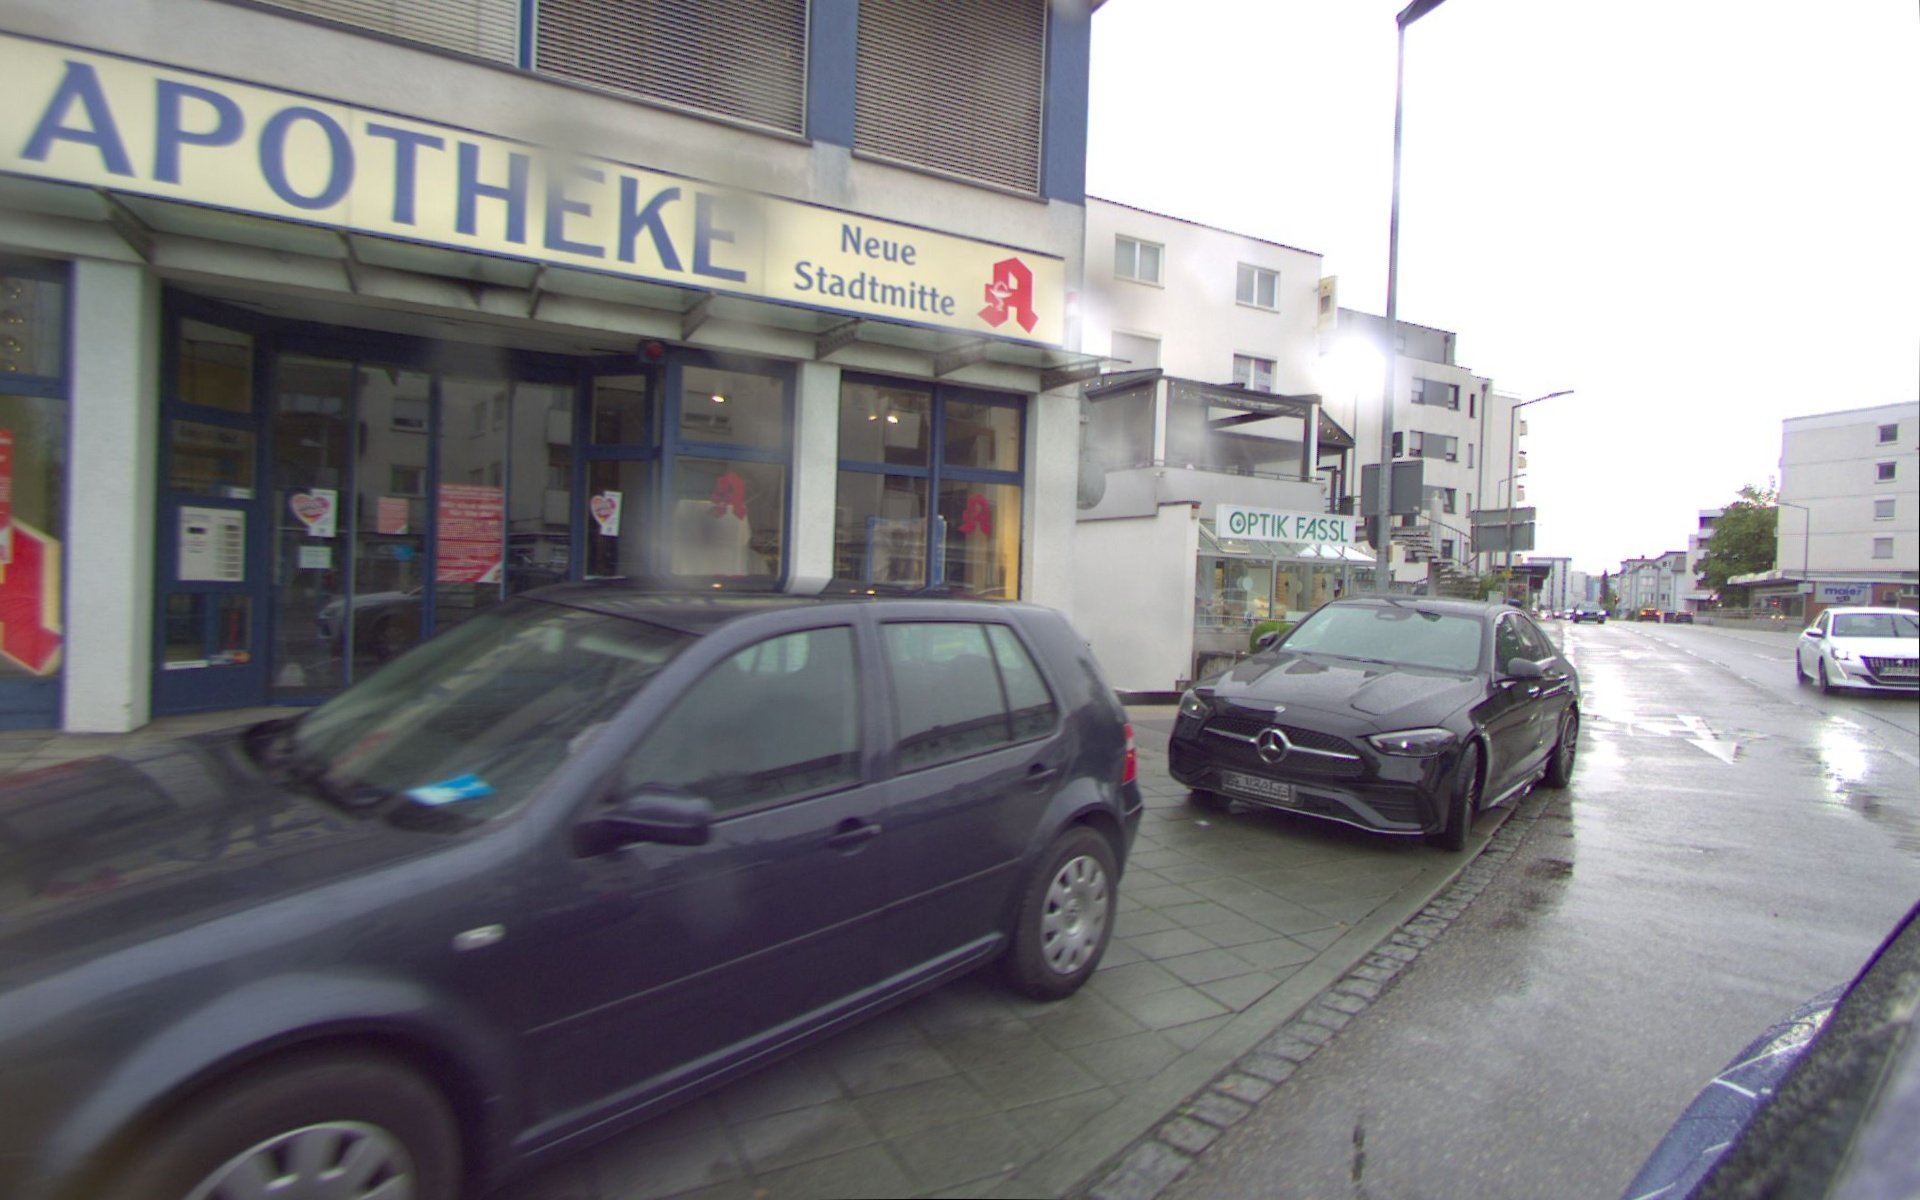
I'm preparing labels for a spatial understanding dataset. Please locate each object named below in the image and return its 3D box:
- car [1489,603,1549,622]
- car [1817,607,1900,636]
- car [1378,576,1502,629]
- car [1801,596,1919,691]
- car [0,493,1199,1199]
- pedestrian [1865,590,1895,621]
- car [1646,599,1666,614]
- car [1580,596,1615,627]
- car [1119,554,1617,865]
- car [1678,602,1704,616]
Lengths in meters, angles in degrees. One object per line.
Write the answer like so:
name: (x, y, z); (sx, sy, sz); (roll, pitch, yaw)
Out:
car: (49.287, 1.073, 89.237); (1.835, 1.513, 4.275); (3, -1, -31)
car: (59.675, 1.422, 67.219); (4.376, 1.565, 2.005); (3, 2, -17)
car: (19.587, 0.109, 41.259); (4.680, 2.039, 2.004); (1, 1, -25)
car: (15.965, 0.716, 17.510); (1.819, 1.458, 4.288); (1, -1, 35)
car: (-1.024, 0.548, 3.147); (1.698, 1.504, 3.940); (6, 4, 41)
pedestrian: (50.755, 0.303, 55.830); (0.862, 1.627, 1.094); (1, 1, 24)
car: (78.166, 0.779, 113.621); (1.796, 1.577, 4.264); (1, -1, 34)
car: (45.125, 0.848, 71.674); (1.985, 2.039, 3.953); (2, 0, 32)
car: (3.311, 0.575, 7.585); (1.993, 1.552, 4.576); (4, 1, 42)
car: (80.560, 0.988, 111.554); (1.688, 1.426, 3.959); (5, 1, 28)
